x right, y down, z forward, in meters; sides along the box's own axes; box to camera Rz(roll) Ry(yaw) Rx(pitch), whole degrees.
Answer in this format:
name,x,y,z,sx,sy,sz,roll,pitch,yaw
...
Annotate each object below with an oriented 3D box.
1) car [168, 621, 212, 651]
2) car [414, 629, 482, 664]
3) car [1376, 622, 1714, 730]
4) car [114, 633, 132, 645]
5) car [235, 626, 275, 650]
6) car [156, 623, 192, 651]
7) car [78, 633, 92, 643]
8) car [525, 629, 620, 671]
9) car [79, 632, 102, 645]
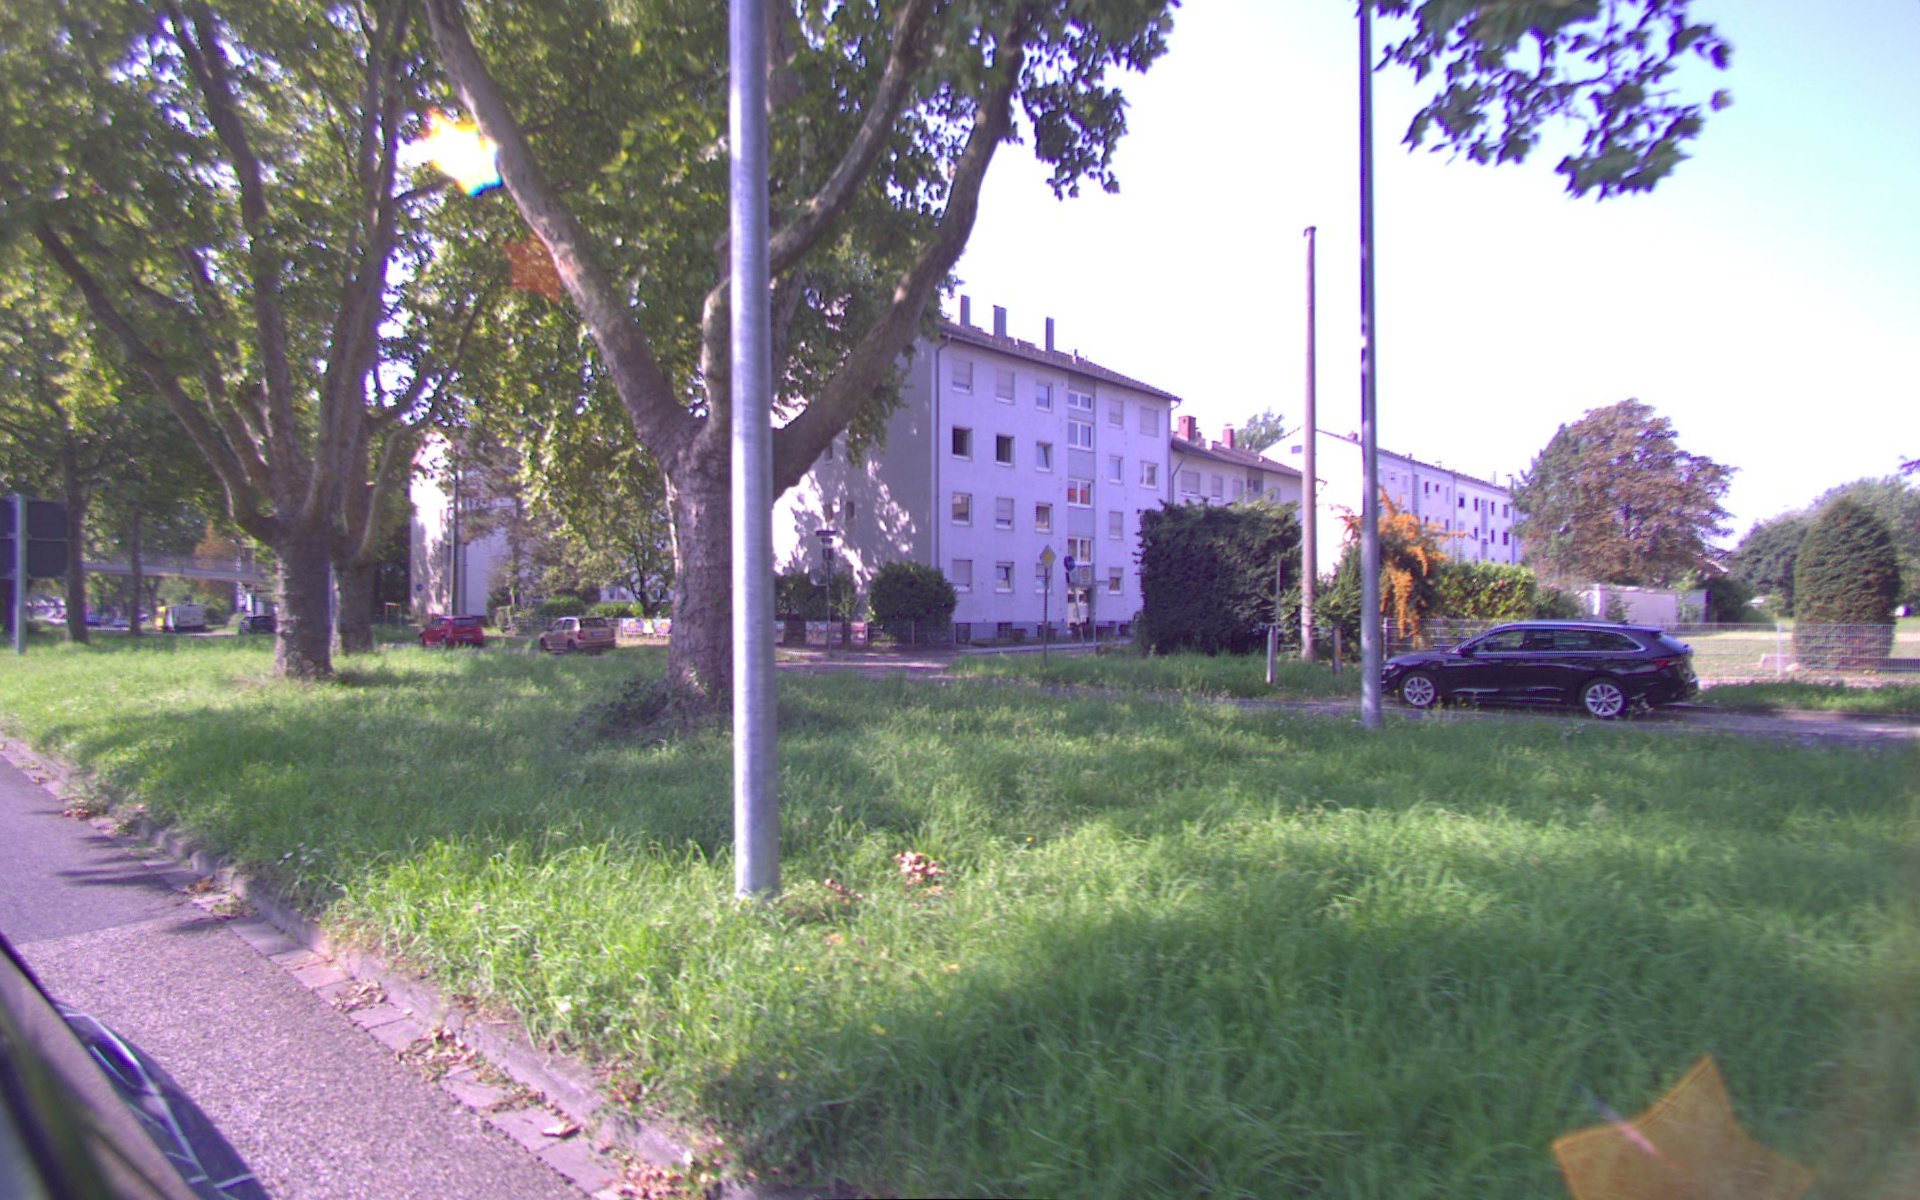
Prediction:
name,x,y,z,sx,sy,sz,roll,pitch,yaw
car,-68.299,3.181,89.699,6.268,2.448,2.183,-1,1,45
car,-23.368,2.098,46.116,4.065,1.462,1.521,-1,-1,44
car,9.421,1.135,16.561,4.539,1.519,1.681,-1,-2,42
car,-115.215,5.367,139.314,1.625,1.490,3.903,0,-1,-43
car,-49.270,2.626,70.719,3.863,1.544,1.506,-1,-1,43
car,-73.977,3.399,95.234,2.181,2.498,6.067,0,-1,-43
car,-157.210,6.835,181.830,1.766,1.544,4.459,0,-1,-44
car,-14.688,1.861,38.312,4.065,1.441,1.782,-2,-1,44
car,-117.568,5.195,136.821,4.720,1.733,1.782,-2,-2,44
